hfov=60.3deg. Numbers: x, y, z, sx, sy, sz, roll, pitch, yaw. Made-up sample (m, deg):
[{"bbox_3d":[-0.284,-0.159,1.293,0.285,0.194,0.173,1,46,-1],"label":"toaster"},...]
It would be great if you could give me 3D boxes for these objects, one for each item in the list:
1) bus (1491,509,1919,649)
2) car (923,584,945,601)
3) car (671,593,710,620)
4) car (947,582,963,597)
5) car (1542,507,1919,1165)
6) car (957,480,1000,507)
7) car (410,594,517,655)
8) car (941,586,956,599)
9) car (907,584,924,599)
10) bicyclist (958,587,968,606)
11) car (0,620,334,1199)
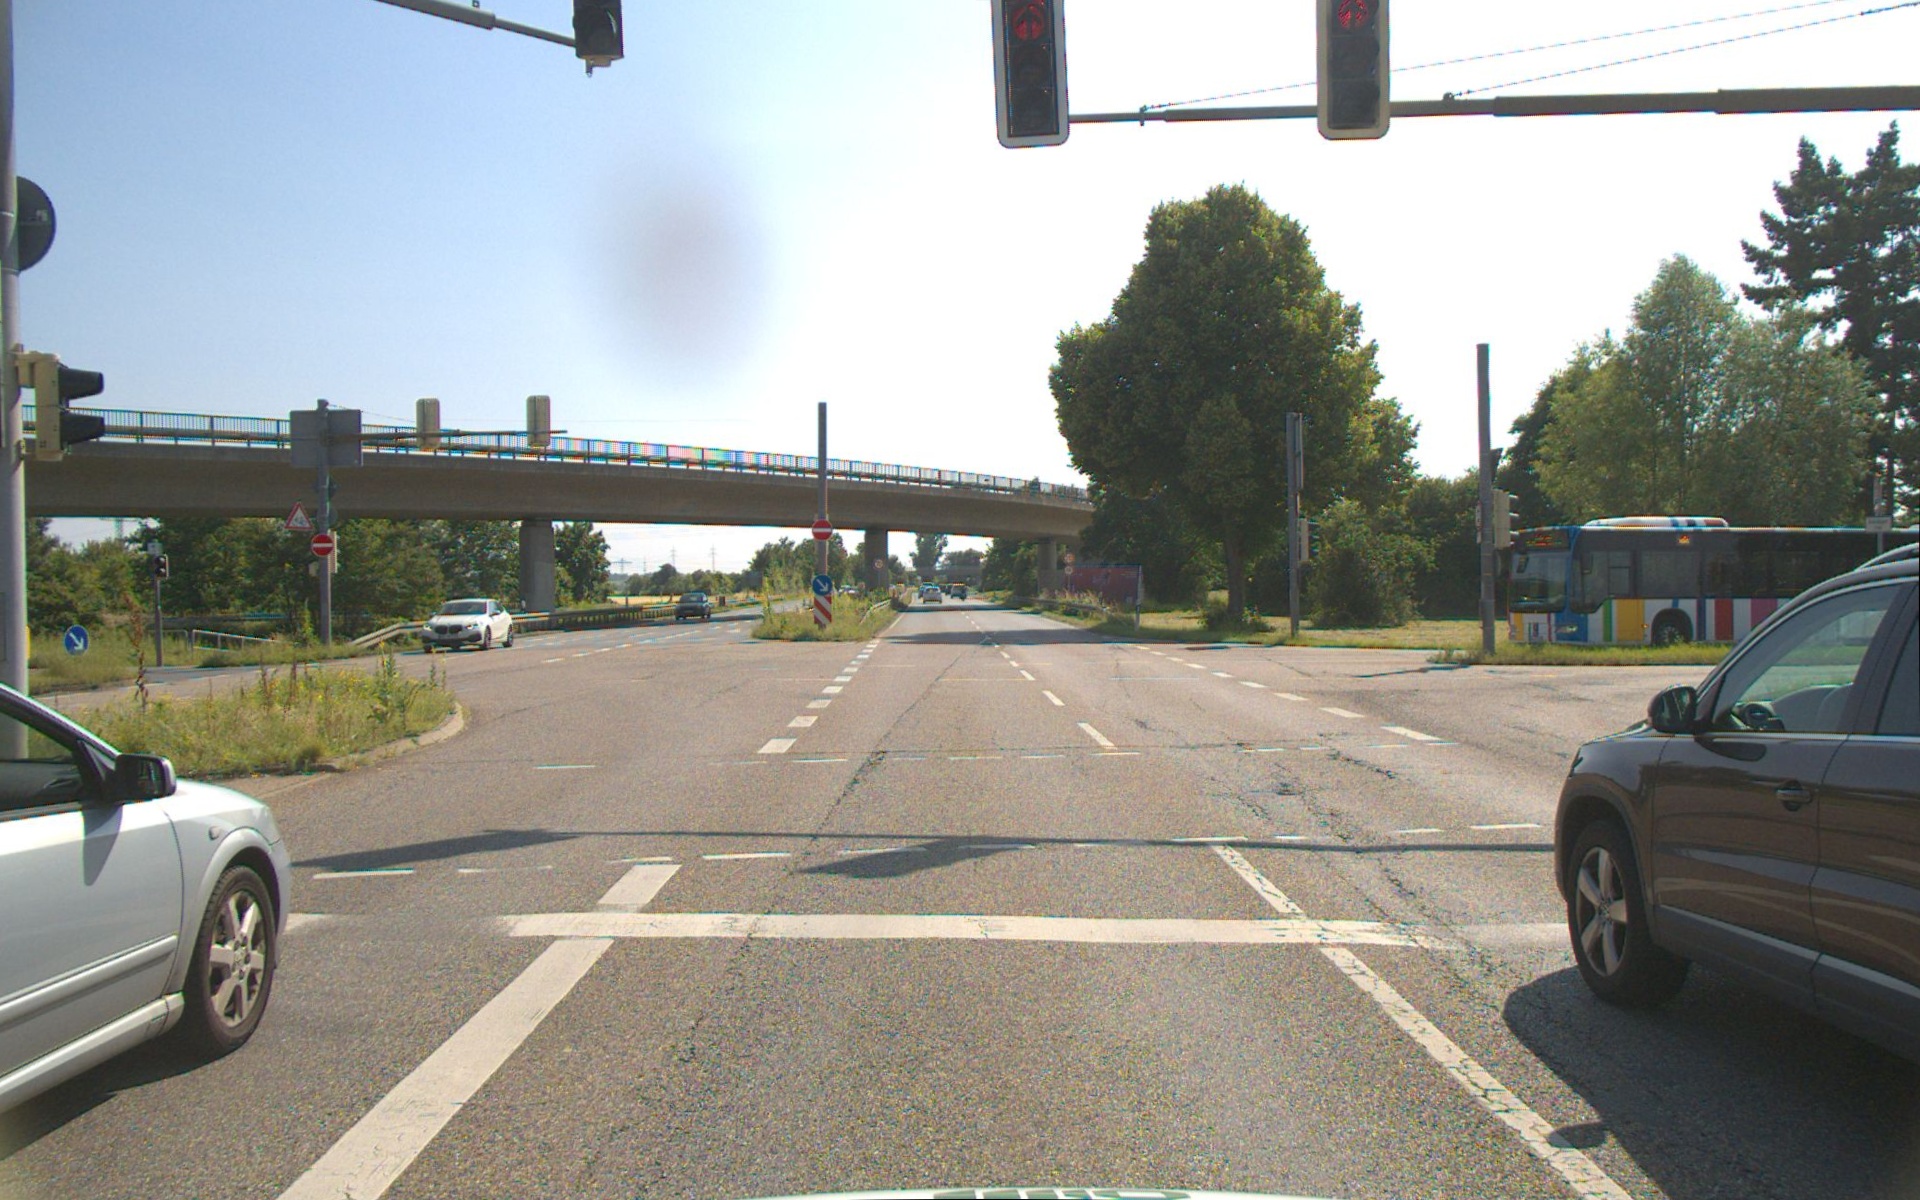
[{"bbox_3d":[18.522,-0.550,39.055,11.744,2.927,2.929,-2,0,-16],"label":"bus"},{"bbox_3d":[-2.268,-0.669,145.173,1.813,1.486,4.000,1,1,0],"label":"car"},{"bbox_3d":[-15.458,0.355,95.121,1.582,1.467,3.775,-3,0,-1],"label":"car"},{"bbox_3d":[-0.592,-1.240,192.067,1.835,1.668,4.000,1,1,0],"label":"car"},{"bbox_3d":[3.315,0.613,4.762,1.720,1.684,4.145,1,0,-1],"label":"car"},{"bbox_3d":[1.170,-6.668,104.055,1.294,1.512,3.192,-1,1,29],"label":"car"},{"bbox_3d":[-14.204,0.672,47.553,1.845,1.541,4.146,-4,0,-2],"label":"car"},{"bbox_3d":[-1.630,-1.010,225.659,1.953,1.660,3.999,2,0,-1],"label":"car"},{"bbox_3d":[-5.041,-0.972,188.525,1.835,1.668,4.000,0,1,0],"label":"car"},{"bbox_3d":[0.295,-0.348,167.630,0.986,1.919,1.326,-1,0,-1],"label":"bicyclist"},{"bbox_3d":[-3.107,0.787,3.974,1.639,1.358,4.097,-1,0,0],"label":"car"}]
